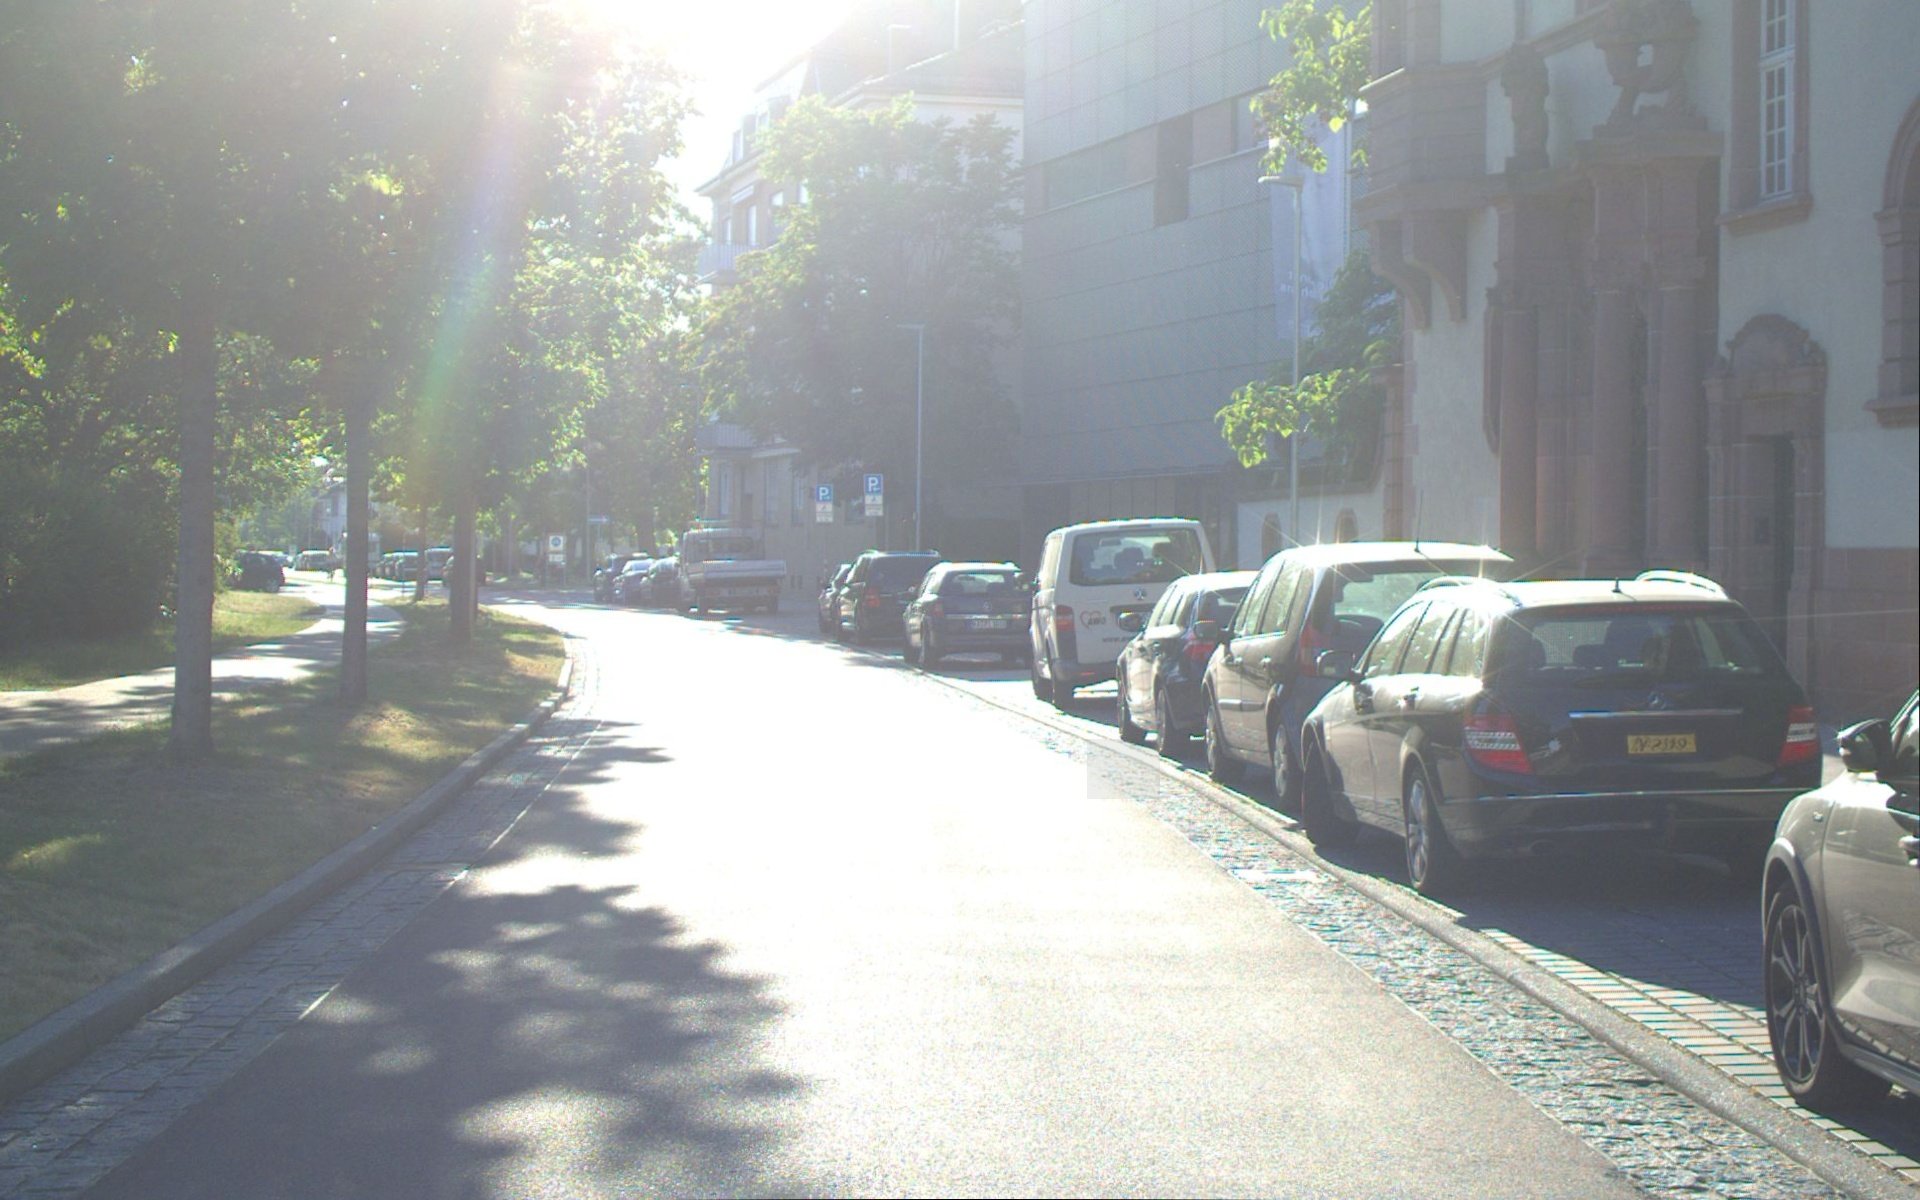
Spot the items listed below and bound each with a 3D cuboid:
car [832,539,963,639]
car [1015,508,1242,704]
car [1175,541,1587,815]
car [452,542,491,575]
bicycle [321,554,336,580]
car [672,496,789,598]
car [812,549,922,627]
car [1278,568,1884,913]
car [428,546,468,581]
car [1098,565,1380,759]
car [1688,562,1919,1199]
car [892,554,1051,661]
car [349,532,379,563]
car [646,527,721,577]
[{"bbox_3d":[-1.136,-0.227,60.523,1.724,1.663,4.115,-1,1,-9],"label":"car"},{"bbox_3d":[1.795,0.029,38.221,1.993,1.959,4.850,-2,1,-3],"label":"car"},{"bbox_3d":[2.629,0.425,22.431,1.815,1.597,4.193,-1,1,-5],"label":"car"},{"bbox_3d":[-23.143,-1.989,162.857,1.793,1.504,4.001,1,1,-9],"label":"car"},{"bbox_3d":[-33.903,-1.783,184.711,0.688,1.198,2.344,1,5,-8],"label":"bicycle"},{"bbox_3d":[-6.015,-1.383,89.305,2.210,2.521,6.149,-1,1,-11],"label":"car"},{"bbox_3d":[-1.830,-0.252,66.267,1.724,1.417,3.907,0,1,-7],"label":"car"},{"bbox_3d":[2.892,0.583,17.077,1.871,1.431,4.523,-1,1,-4],"label":"car"},{"bbox_3d":[-26.207,-1.858,175.997,1.793,1.718,4.001,1,1,-11],"label":"car"},{"bbox_3d":[2.166,0.438,27.758,1.679,1.398,4.200,-1,1,-3],"label":"car"},{"bbox_3d":[3.101,0.679,8.186,1.768,1.525,4.572,-1,1,0],"label":"car"},{"bbox_3d":[0.114,0.080,50.301,1.747,1.461,4.478,1,1,-7],"label":"car"},{"bbox_3d":[-39.401,-3.497,227.248,1.793,1.992,4.001,1,1,-11],"label":"car"},{"bbox_3d":[-8.073,-1.406,100.250,1.690,1.435,3.552,0,1,-13],"label":"car"}]
